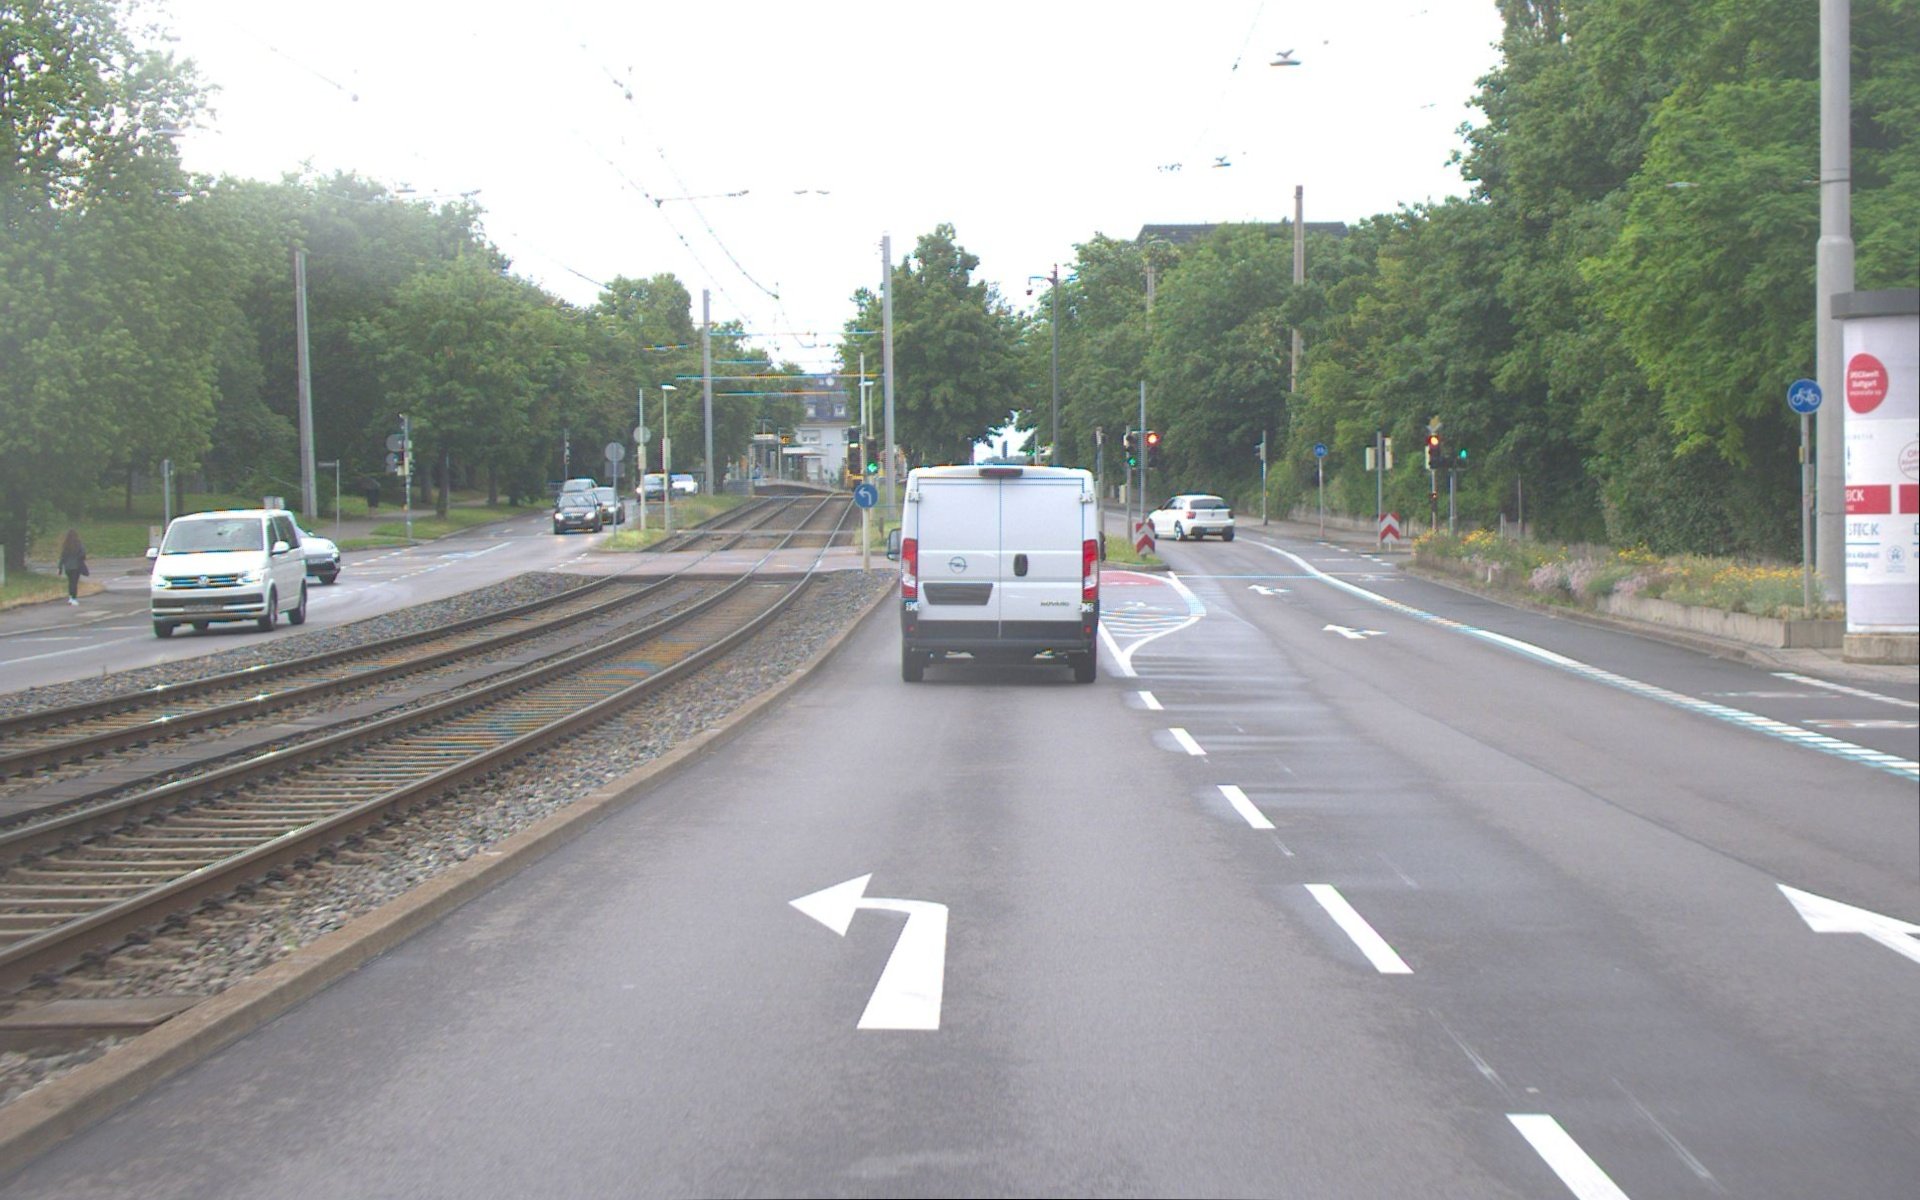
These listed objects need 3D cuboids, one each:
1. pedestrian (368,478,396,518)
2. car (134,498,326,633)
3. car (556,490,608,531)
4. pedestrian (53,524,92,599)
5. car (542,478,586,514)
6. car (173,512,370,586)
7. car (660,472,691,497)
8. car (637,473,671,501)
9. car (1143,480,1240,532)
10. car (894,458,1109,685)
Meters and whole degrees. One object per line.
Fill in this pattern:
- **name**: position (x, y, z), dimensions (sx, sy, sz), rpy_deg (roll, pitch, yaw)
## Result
- **pedestrian**: position (-23.346, -4.106, 138.864), dimensions (1.013, 1.595, 1.040), rpy_deg (-1, 2, -7)
- **car**: position (-11.873, -0.609, 56.255), dimensions (1.993, 2.006, 5.060), rpy_deg (-3, 2, 0)
- **car**: position (-13.990, -3.334, 127.324), dimensions (1.601, 1.397, 3.792), rpy_deg (1, 3, -2)
- **pedestrian**: position (-18.088, -0.783, 70.074), dimensions (0.591, 1.526, 0.668), rpy_deg (1, 0, 0)
- **car**: position (-18.794, -4.952, 163.212), dimensions (1.719, 1.548, 3.864), rpy_deg (-3, 3, -2)
- **car**: position (-17.156, -1.268, 85.572), dimensions (4.753, 1.643, 1.996), rpy_deg (-1, 2, 34)
- **car**: position (-17.014, -6.900, 205.664), dimensions (1.601, 1.397, 3.792), rpy_deg (1, 3, -2)
- **car**: position (-16.373, -6.062, 183.867), dimensions (1.601, 1.397, 3.792), rpy_deg (1, 3, -2)
- **car**: position (7.237, -2.967, 107.705), dimensions (1.702, 1.516, 3.793), rpy_deg (0, 3, -18)
- **car**: position (0.416, -0.349, 37.090), dimensions (2.146, 2.275, 5.063), rpy_deg (0, 1, 0)
